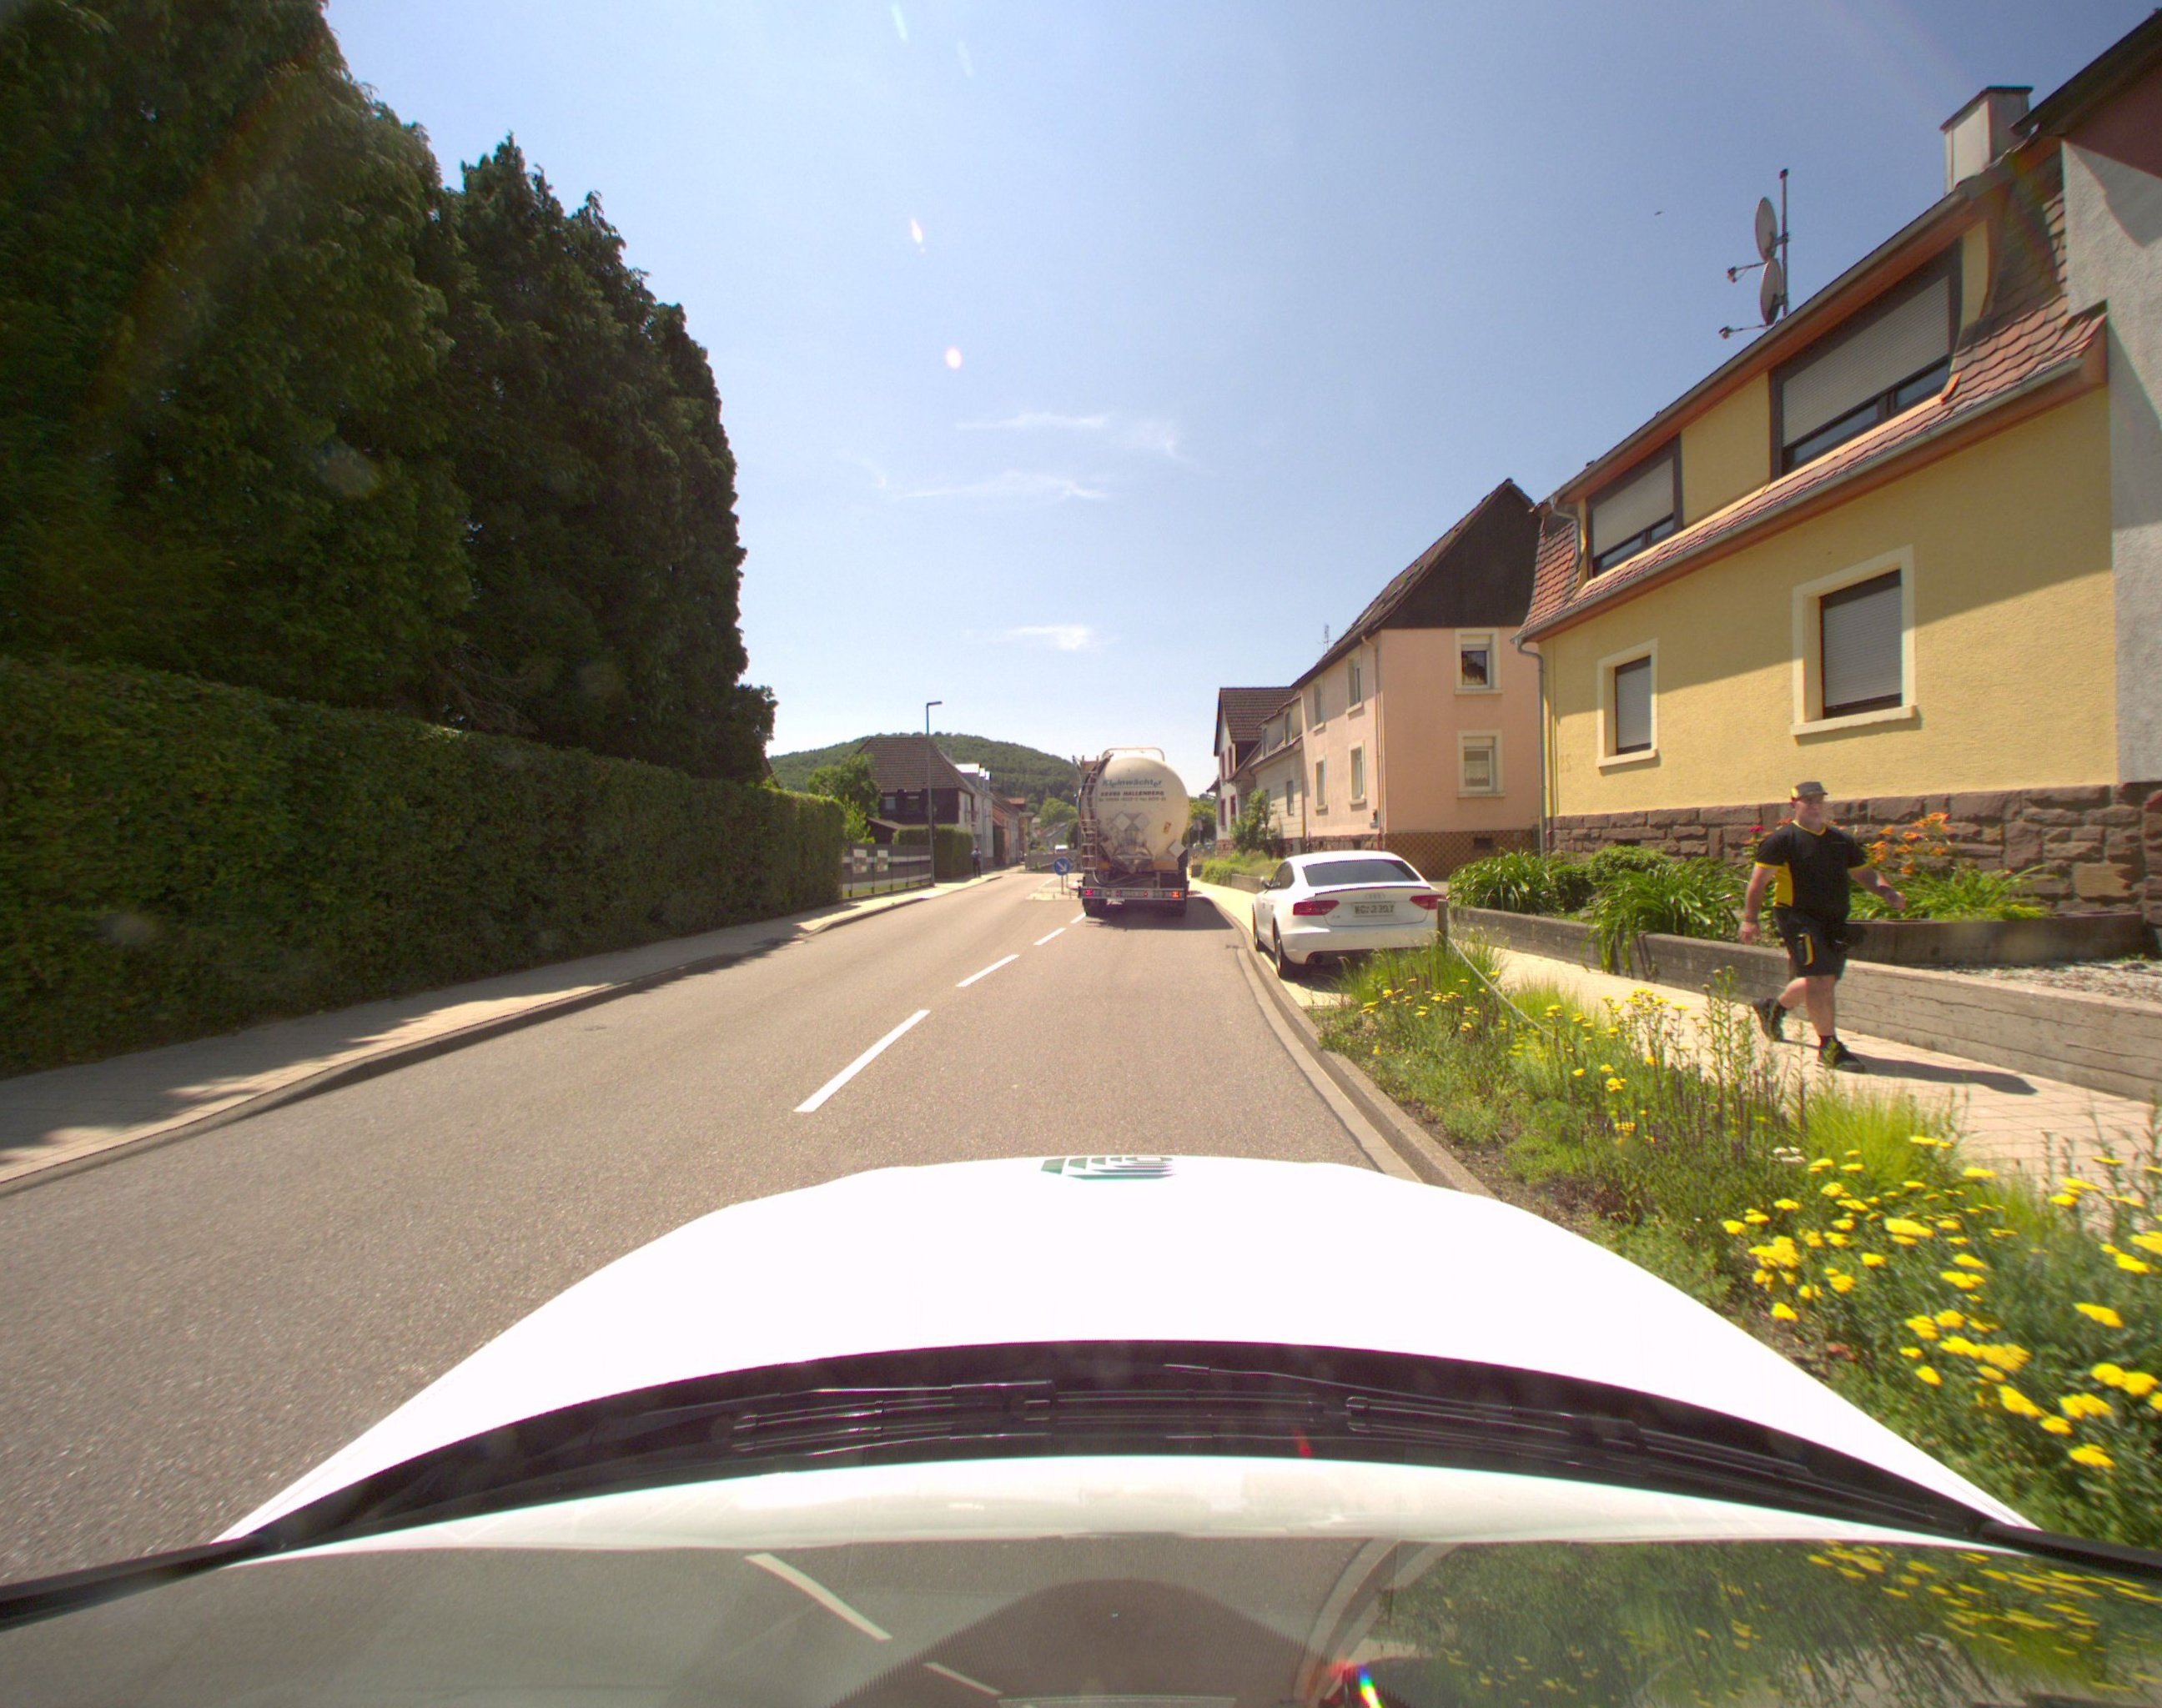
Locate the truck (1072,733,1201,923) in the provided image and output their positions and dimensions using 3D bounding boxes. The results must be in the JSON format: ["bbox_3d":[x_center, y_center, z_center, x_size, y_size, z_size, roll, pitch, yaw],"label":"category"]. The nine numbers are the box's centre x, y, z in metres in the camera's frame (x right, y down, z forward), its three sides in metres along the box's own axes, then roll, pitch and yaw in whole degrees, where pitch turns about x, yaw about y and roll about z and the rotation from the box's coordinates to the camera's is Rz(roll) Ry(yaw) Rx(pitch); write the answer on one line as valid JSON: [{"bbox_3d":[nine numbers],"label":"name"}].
[{"bbox_3d":[1.200,-0.577,22.927,2.741,4.056,10.887,0,0,0],"label":"truck"}]

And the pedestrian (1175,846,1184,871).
[{"bbox_3d":[6.649,0.302,54.808,0.568,1.694,0.722,0,-1,5],"label":"pedestrian"}]

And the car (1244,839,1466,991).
[{"bbox_3d":[3.161,0.651,10.383,1.747,1.418,4.642,-3,-1,7],"label":"car"}]

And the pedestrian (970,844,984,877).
[{"bbox_3d":[-5.866,0.351,45.964,0.710,1.823,0.897,0,-1,-3],"label":"pedestrian"}]

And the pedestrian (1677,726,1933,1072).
[{"bbox_3d":[4.597,0.266,5.268,0.743,2.014,1.033,0,-1,2],"label":"pedestrian"}]
